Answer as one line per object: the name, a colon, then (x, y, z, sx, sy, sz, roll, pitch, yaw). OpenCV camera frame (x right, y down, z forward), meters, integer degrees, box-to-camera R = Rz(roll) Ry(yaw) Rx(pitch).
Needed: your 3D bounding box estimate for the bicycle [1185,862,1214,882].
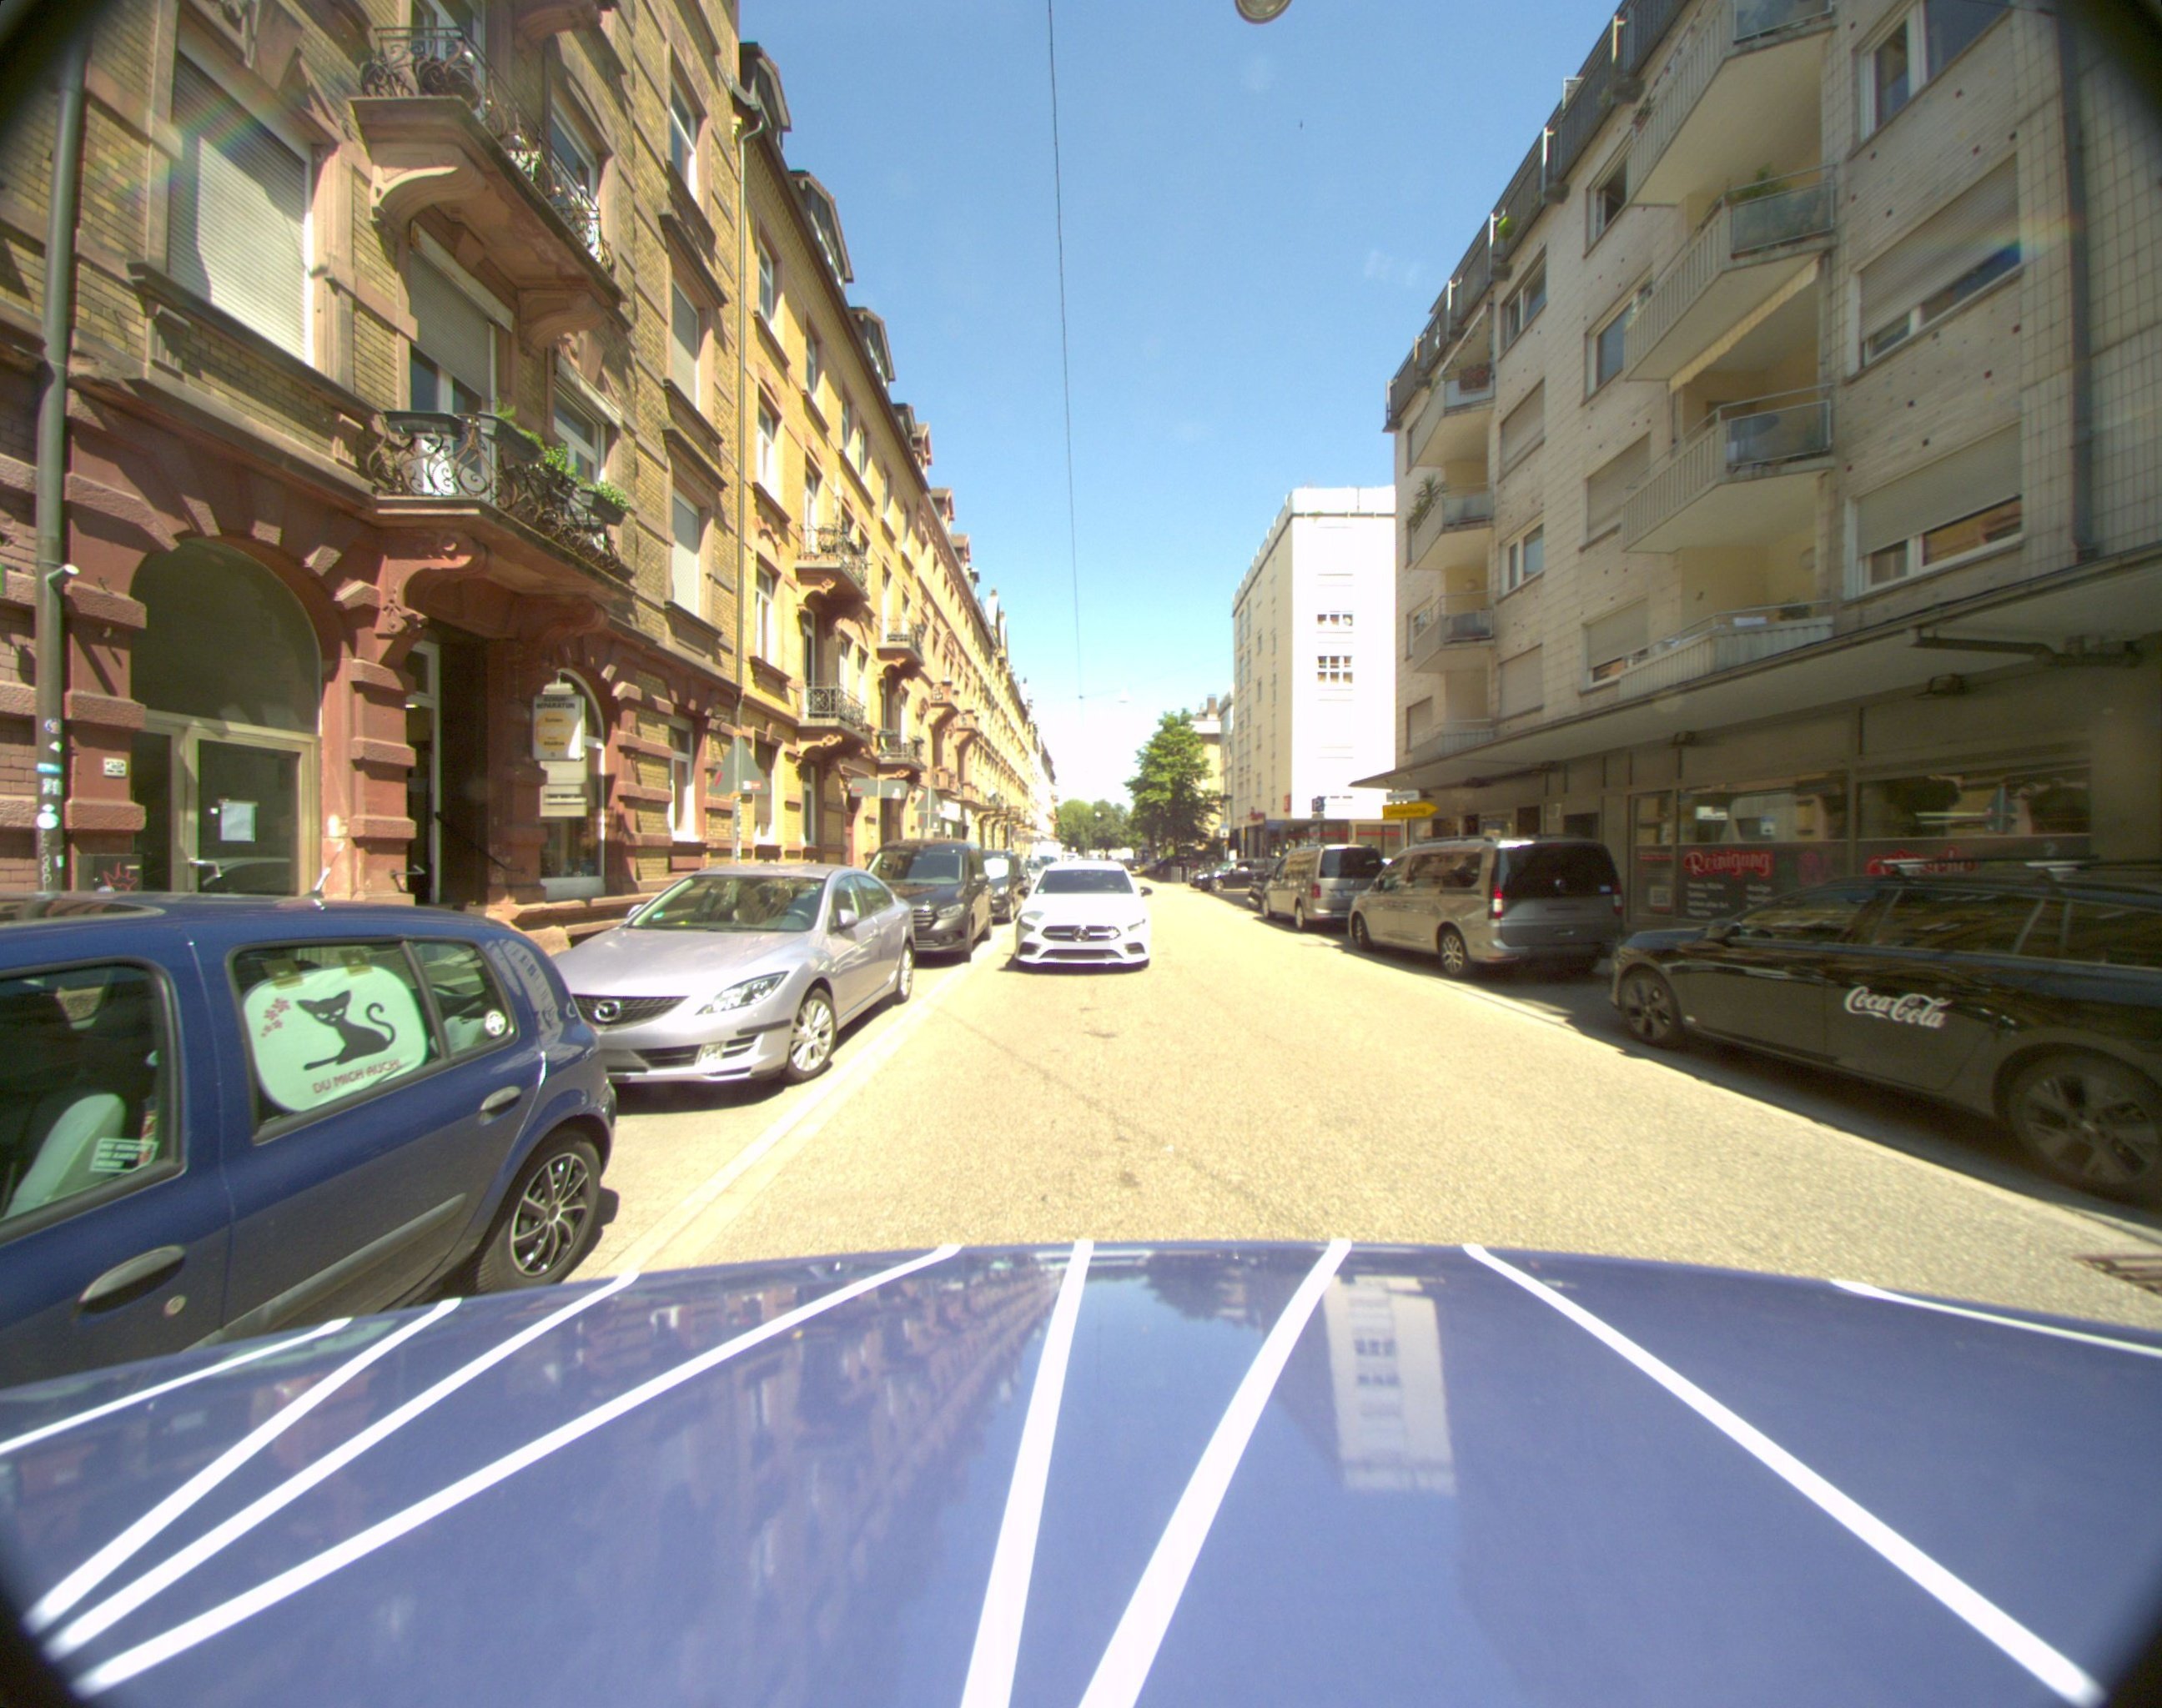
bicycle: (6.706, 1.023, 42.963, 1.608, 1.084, 0.371, -2, 0, 6)

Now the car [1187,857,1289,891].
car: (6.659, 0.832, 32.383, 3.891, 1.417, 1.814, 0, 0, -8)

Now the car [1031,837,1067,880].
car: (-2.116, 0.279, 50.955, 2.067, 2.687, 5.039, -2, 0, 1)

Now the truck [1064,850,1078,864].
truck: (-1.499, 0.405, 114.031, 1.998, 2.002, 4.902, 0, 0, 1)

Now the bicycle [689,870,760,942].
bicycle: (-5.974, 0.837, 12.808, 0.354, 1.097, 1.755, 0, 0, 1)

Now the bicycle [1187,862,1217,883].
bicycle: (6.608, 0.992, 41.506, 1.608, 1.084, 0.371, -2, 0, 6)

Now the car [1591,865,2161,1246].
car: (5.377, 0.869, 4.571, 1.674, 1.516, 4.464, -1, 0, 1)

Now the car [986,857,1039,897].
car: (-2.652, 0.852, 30.109, 1.830, 1.452, 3.999, -1, 0, -2)

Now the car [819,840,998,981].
car: (-2.424, 0.718, 11.811, 1.829, 1.756, 4.337, 1, 0, -1)

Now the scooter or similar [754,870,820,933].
scooter or similar: (-5.912, 0.922, 15.393, 0.477, 1.146, 2.149, 0, 0, 1)

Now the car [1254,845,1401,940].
car: (5.390, 0.762, 17.323, 1.793, 1.818, 4.900, -1, 0, 1)

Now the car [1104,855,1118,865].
car: (4.880, 0.962, 124.312, 1.998, 1.674, 4.000, -2, 0, 1)

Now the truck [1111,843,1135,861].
truck: (8.076, -0.359, 144.409, 2.758, 3.270, 4.966, 1, 0, 26)

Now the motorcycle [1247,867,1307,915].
motorcycle: (5.464, 1.021, 21.221, 1.552, 1.276, 0.394, -1, 2, 33)

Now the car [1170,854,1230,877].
car: (8.185, 0.778, 52.509, 3.885, 1.520, 1.652, 0, 0, 0)

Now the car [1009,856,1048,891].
car: (-2.342, 0.860, 34.502, 1.603, 1.454, 3.689, -1, 0, -2)

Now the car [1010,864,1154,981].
car: (0.101, 0.889, 11.705, 1.813, 1.417, 4.242, 0, 0, 3)

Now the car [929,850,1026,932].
car: (-2.334, 0.773, 18.114, 1.706, 1.723, 4.000, -1, 0, 1)

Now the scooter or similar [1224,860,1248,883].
scooter or similar: (8.007, 0.892, 39.219, 1.192, 1.160, 0.289, 0, 0, -1)

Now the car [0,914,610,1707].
car: (-2.654, 0.968, 1.156, 1.631, 1.424, 3.659, 1, 0, -1)

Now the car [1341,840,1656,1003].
car: (5.519, 0.763, 10.906, 1.793, 1.801, 4.698, -1, 0, -2)

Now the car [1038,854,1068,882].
car: (-1.658, 0.789, 45.066, 1.682, 1.528, 3.999, -1, 0, -2)

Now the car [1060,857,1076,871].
car: (-1.421, 1.076, 84.961, 1.682, 1.528, 3.999, -1, 0, -2)

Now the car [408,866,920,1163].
car: (-2.626, 0.871, 6.165, 1.730, 1.424, 4.485, 1, 0, -1)

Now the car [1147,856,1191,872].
car: (8.132, 0.896, 70.289, 3.885, 1.487, 1.652, 0, 0, 0)

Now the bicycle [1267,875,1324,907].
bicycle: (6.671, 1.136, 23.703, 1.706, 0.951, 0.411, -1, 1, 43)

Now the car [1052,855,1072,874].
car: (-1.705, 0.891, 66.128, 1.682, 1.528, 3.999, -1, 0, -2)

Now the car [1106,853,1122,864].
car: (4.587, 0.643, 105.801, 1.998, 1.505, 4.000, -2, 0, 1)

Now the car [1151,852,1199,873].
car: (8.043, 0.733, 65.008, 3.885, 1.737, 1.652, 0, 0, 0)

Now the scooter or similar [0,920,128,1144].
scooter or similar: (-6.027, 0.989, 3.991, 0.293, 1.170, 1.273, 0, 0, 10)

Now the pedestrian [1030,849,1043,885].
pedestrian: (-2.368, 0.682, 40.245, 0.635, 1.903, 0.370, 0, 1, 1)

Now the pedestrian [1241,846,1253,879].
pedestrian: (10.914, 0.555, 50.034, 0.608, 2.113, 0.496, 0, 1, 36)

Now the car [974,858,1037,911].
car: (-2.318, 0.887, 23.663, 1.766, 1.441, 3.903, -1, 0, -5)

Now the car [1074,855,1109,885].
car: (0.557, 0.834, 41.470, 1.780, 1.460, 4.000, -2, 0, 1)

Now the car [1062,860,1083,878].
car: (-0.727, 1.151, 59.570, 1.533, 1.293, 3.686, -1, 0, -2)

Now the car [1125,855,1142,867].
car: (7.161, 0.886, 103.458, 1.998, 1.505, 4.000, -2, 0, 1)
